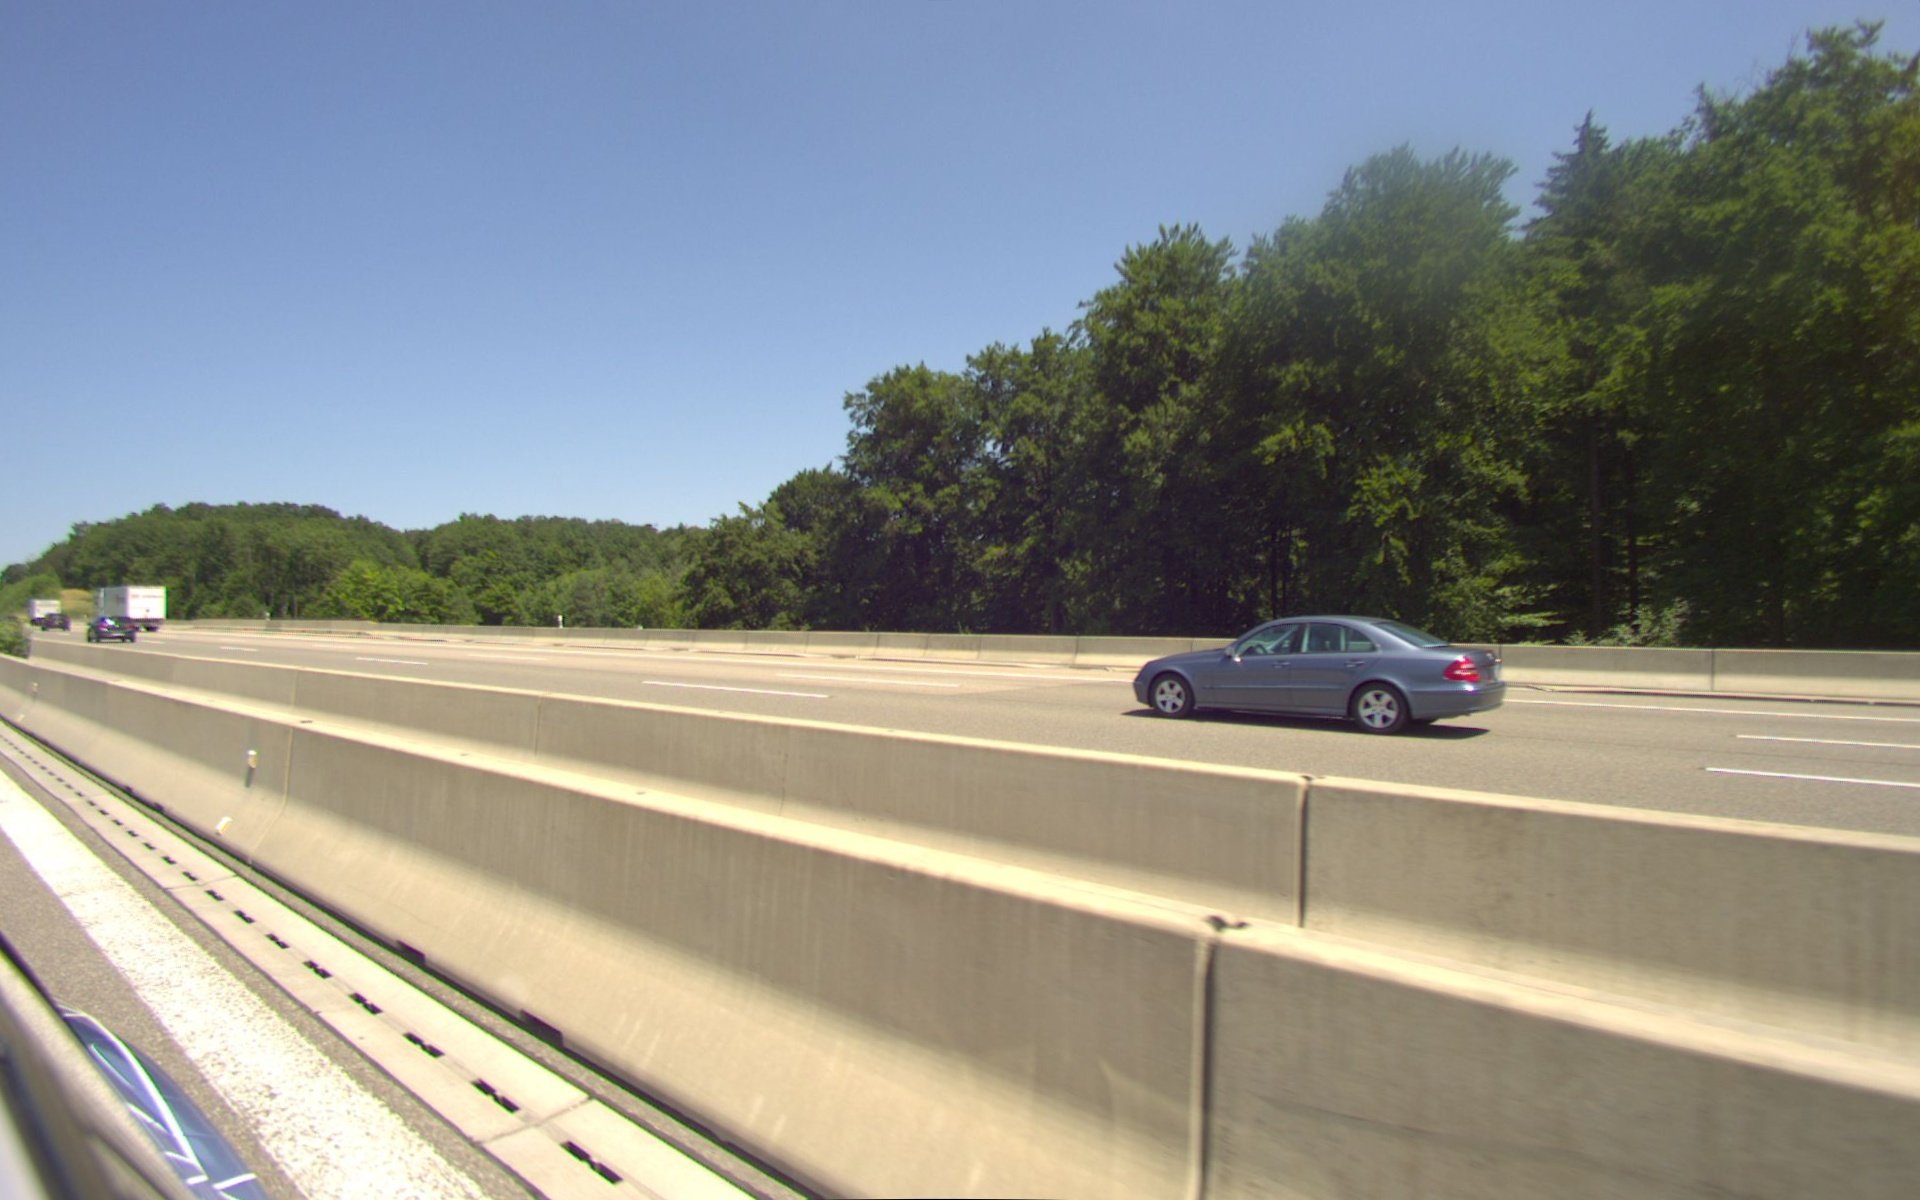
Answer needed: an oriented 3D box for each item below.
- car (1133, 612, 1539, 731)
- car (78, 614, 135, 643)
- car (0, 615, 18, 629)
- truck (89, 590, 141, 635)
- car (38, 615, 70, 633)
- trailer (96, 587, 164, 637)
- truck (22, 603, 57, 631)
[{"bbox_3d":[4.814,0.823,13.432,4.727,1.311,1.813,-1,-1,41],"label":"car"},{"bbox_3d":[-46.308,1.536,54.886,4.480,1.489,1.748,-1,0,42],"label":"car"},{"bbox_3d":[-117.610,2.742,124.661,4.396,1.492,1.779,-3,-7,42],"label":"car"},{"bbox_3d":[-80.363,1.247,96.213,7.874,4.131,2.686,-1,-2,42],"label":"truck"},{"bbox_3d":[-86.231,2.296,96.314,5.078,1.655,1.779,-2,-2,42],"label":"car"},{"bbox_3d":[-75.447,1.111,91.804,14.357,4.257,2.614,-1,-2,42],"label":"trailer"},{"bbox_3d":[-123.781,2.321,136.042,8.573,3.598,2.513,-2,-1,42],"label":"truck"}]
